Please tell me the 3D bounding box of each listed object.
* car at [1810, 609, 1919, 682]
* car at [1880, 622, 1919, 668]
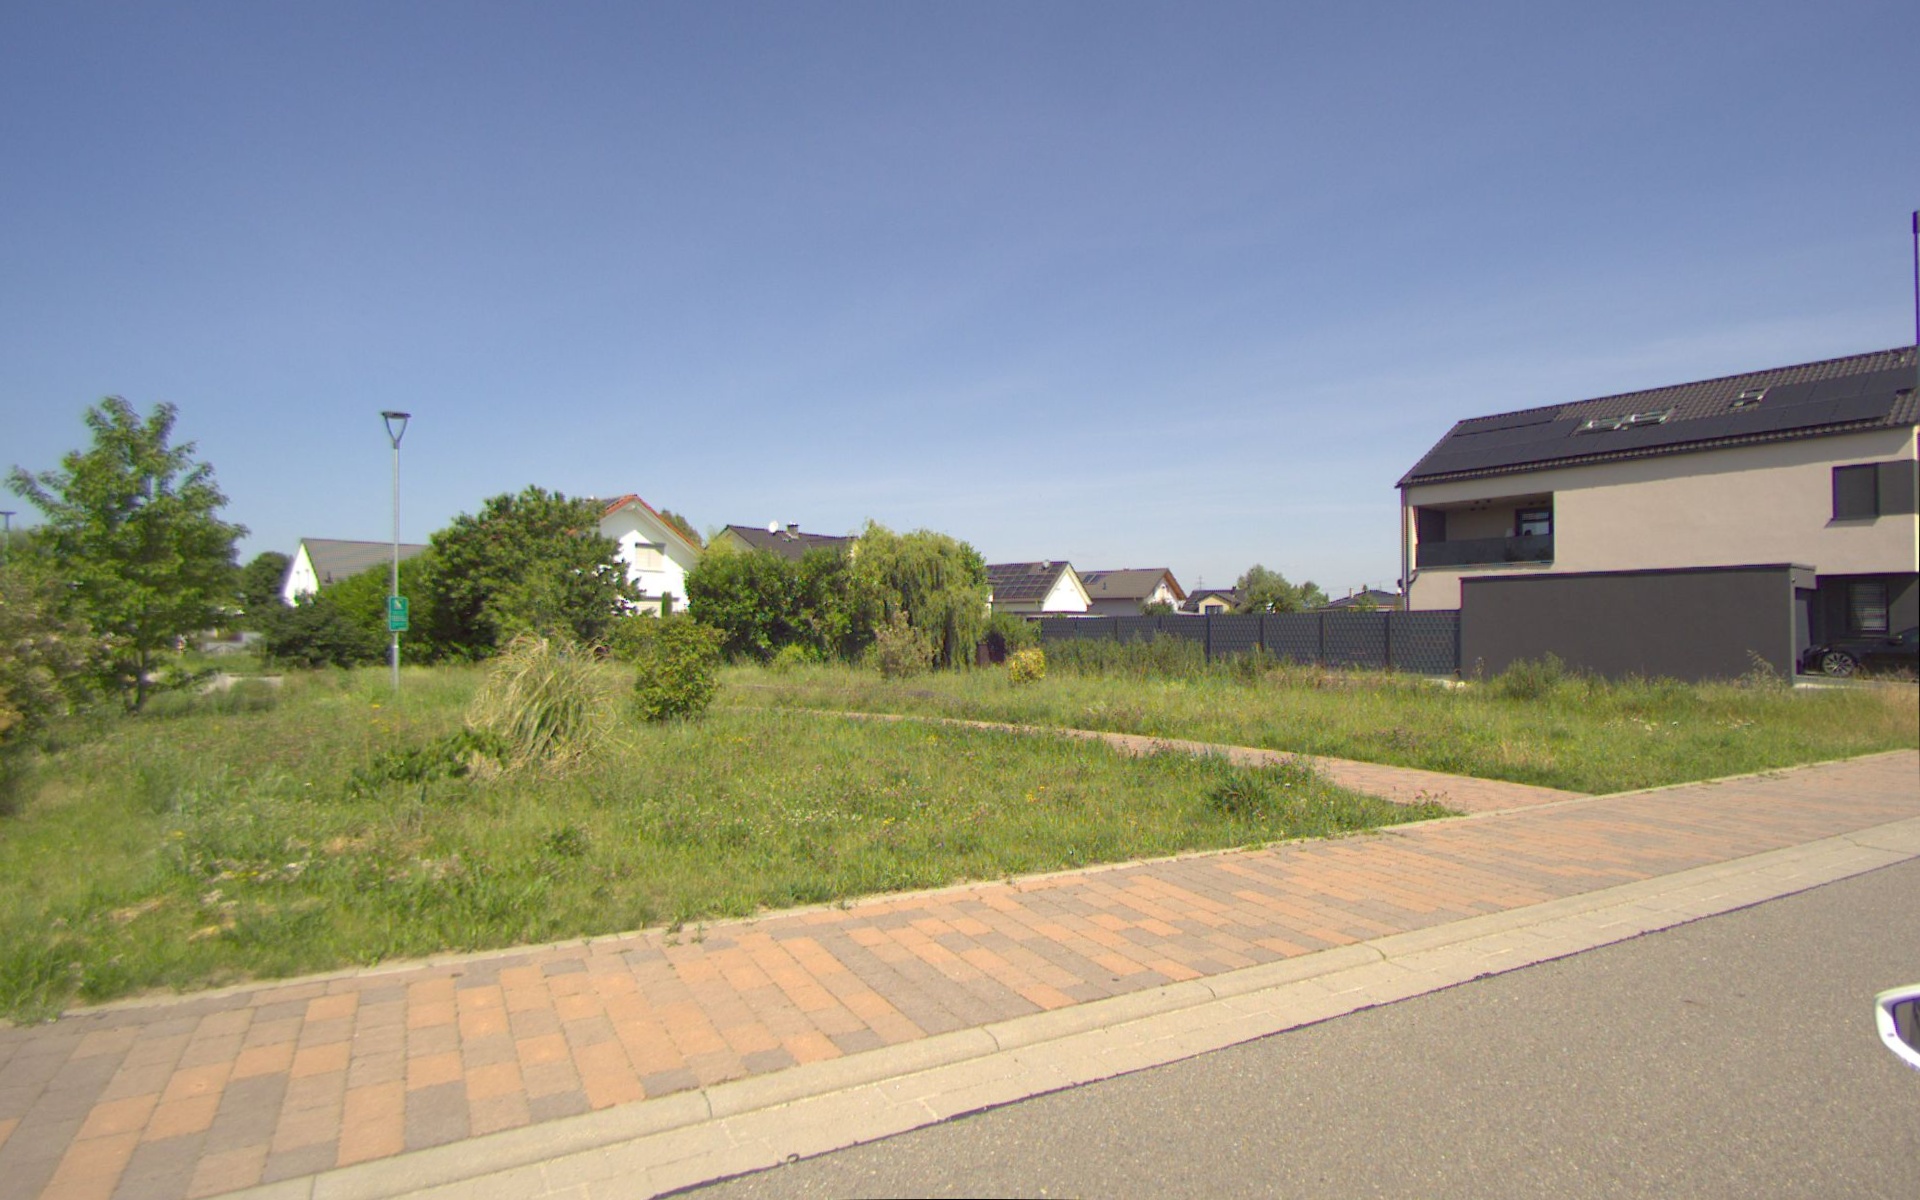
[{"bbox_3d":[23.422,1.122,24.089,1.754,1.653,4.344,1,1,-37],"label":"car"},{"bbox_3d":[33.007,1.488,32.927,1.737,1.506,3.961,1,-1,-35],"label":"car"}]
